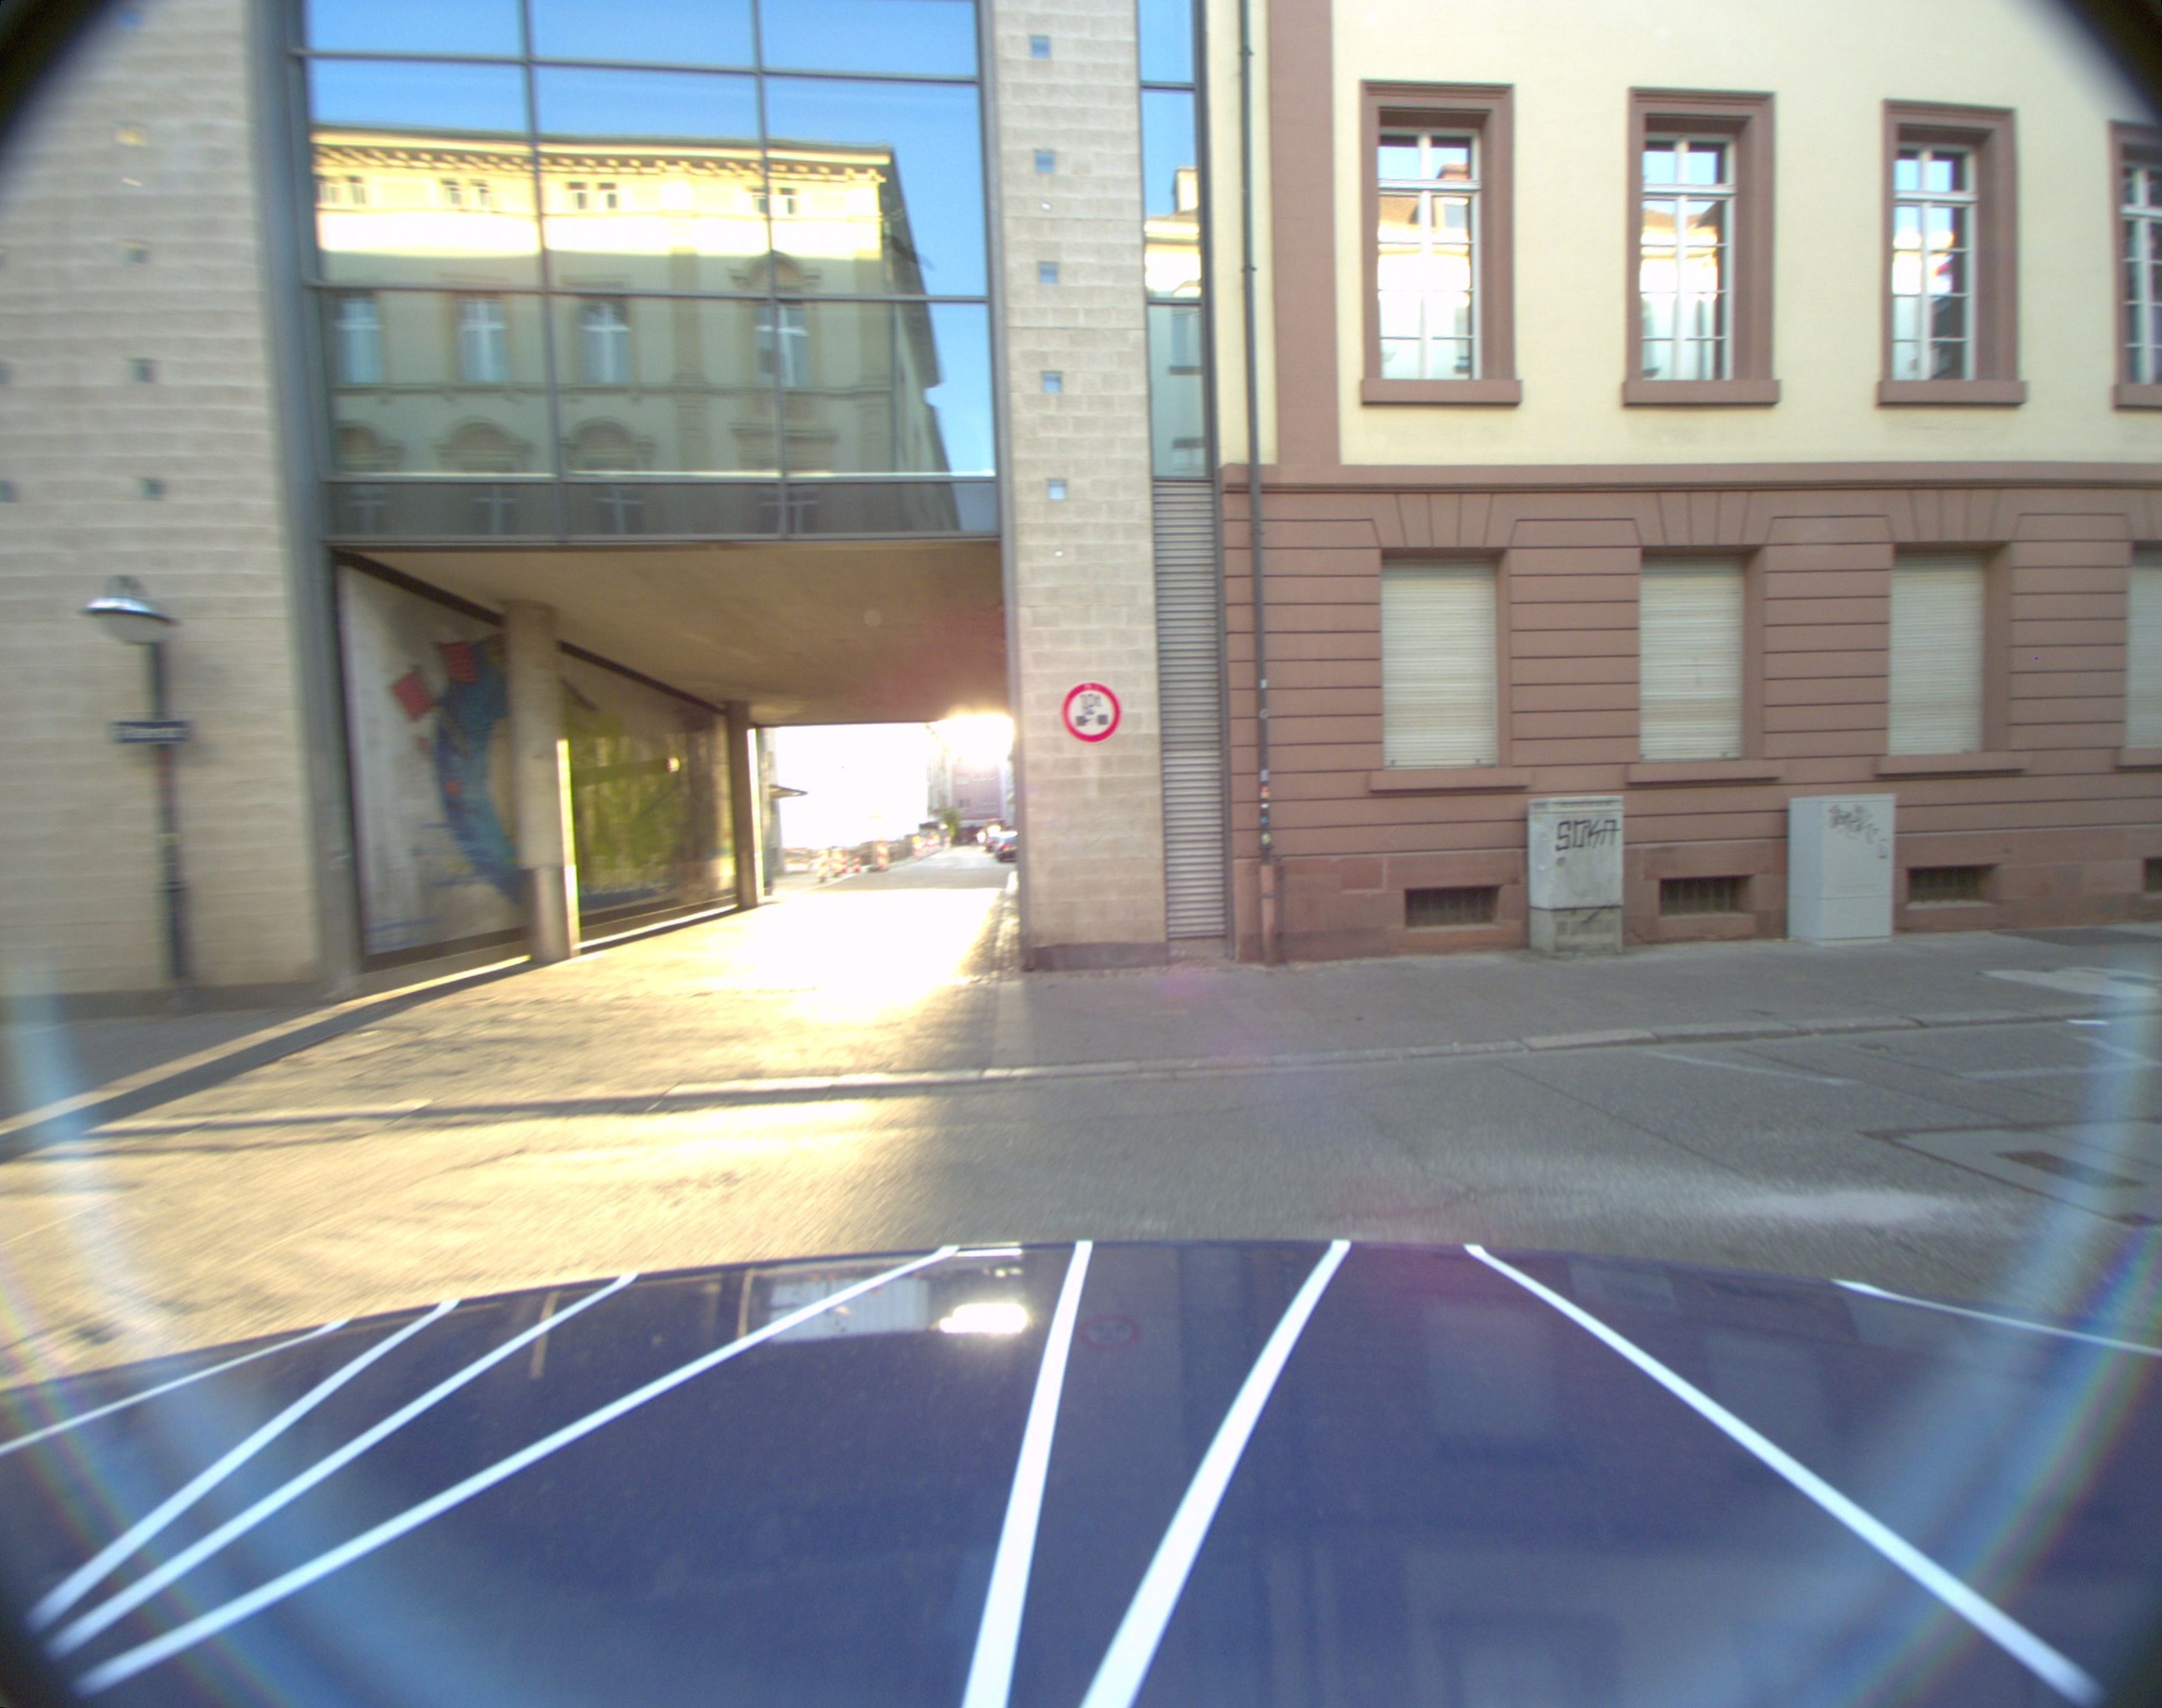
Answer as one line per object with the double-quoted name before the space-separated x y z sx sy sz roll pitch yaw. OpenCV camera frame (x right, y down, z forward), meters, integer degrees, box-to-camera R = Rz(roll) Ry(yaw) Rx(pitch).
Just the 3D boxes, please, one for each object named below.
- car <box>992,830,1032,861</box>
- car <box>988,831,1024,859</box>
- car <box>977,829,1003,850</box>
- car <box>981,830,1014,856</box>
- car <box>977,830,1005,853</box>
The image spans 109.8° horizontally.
"car" -3.613 -0.454 39.127 1.602 1.485 3.441 -3 1 -12
"car" -4.257 -0.517 42.912 1.602 1.485 3.441 -3 1 -12
"car" -6.923 -1.082 57.431 1.602 1.485 3.441 -3 1 -12
"car" -5.148 -0.659 46.681 1.602 1.485 3.441 -3 1 -12
"car" -6.241 -0.880 52.464 1.602 1.485 3.441 -3 1 -12
